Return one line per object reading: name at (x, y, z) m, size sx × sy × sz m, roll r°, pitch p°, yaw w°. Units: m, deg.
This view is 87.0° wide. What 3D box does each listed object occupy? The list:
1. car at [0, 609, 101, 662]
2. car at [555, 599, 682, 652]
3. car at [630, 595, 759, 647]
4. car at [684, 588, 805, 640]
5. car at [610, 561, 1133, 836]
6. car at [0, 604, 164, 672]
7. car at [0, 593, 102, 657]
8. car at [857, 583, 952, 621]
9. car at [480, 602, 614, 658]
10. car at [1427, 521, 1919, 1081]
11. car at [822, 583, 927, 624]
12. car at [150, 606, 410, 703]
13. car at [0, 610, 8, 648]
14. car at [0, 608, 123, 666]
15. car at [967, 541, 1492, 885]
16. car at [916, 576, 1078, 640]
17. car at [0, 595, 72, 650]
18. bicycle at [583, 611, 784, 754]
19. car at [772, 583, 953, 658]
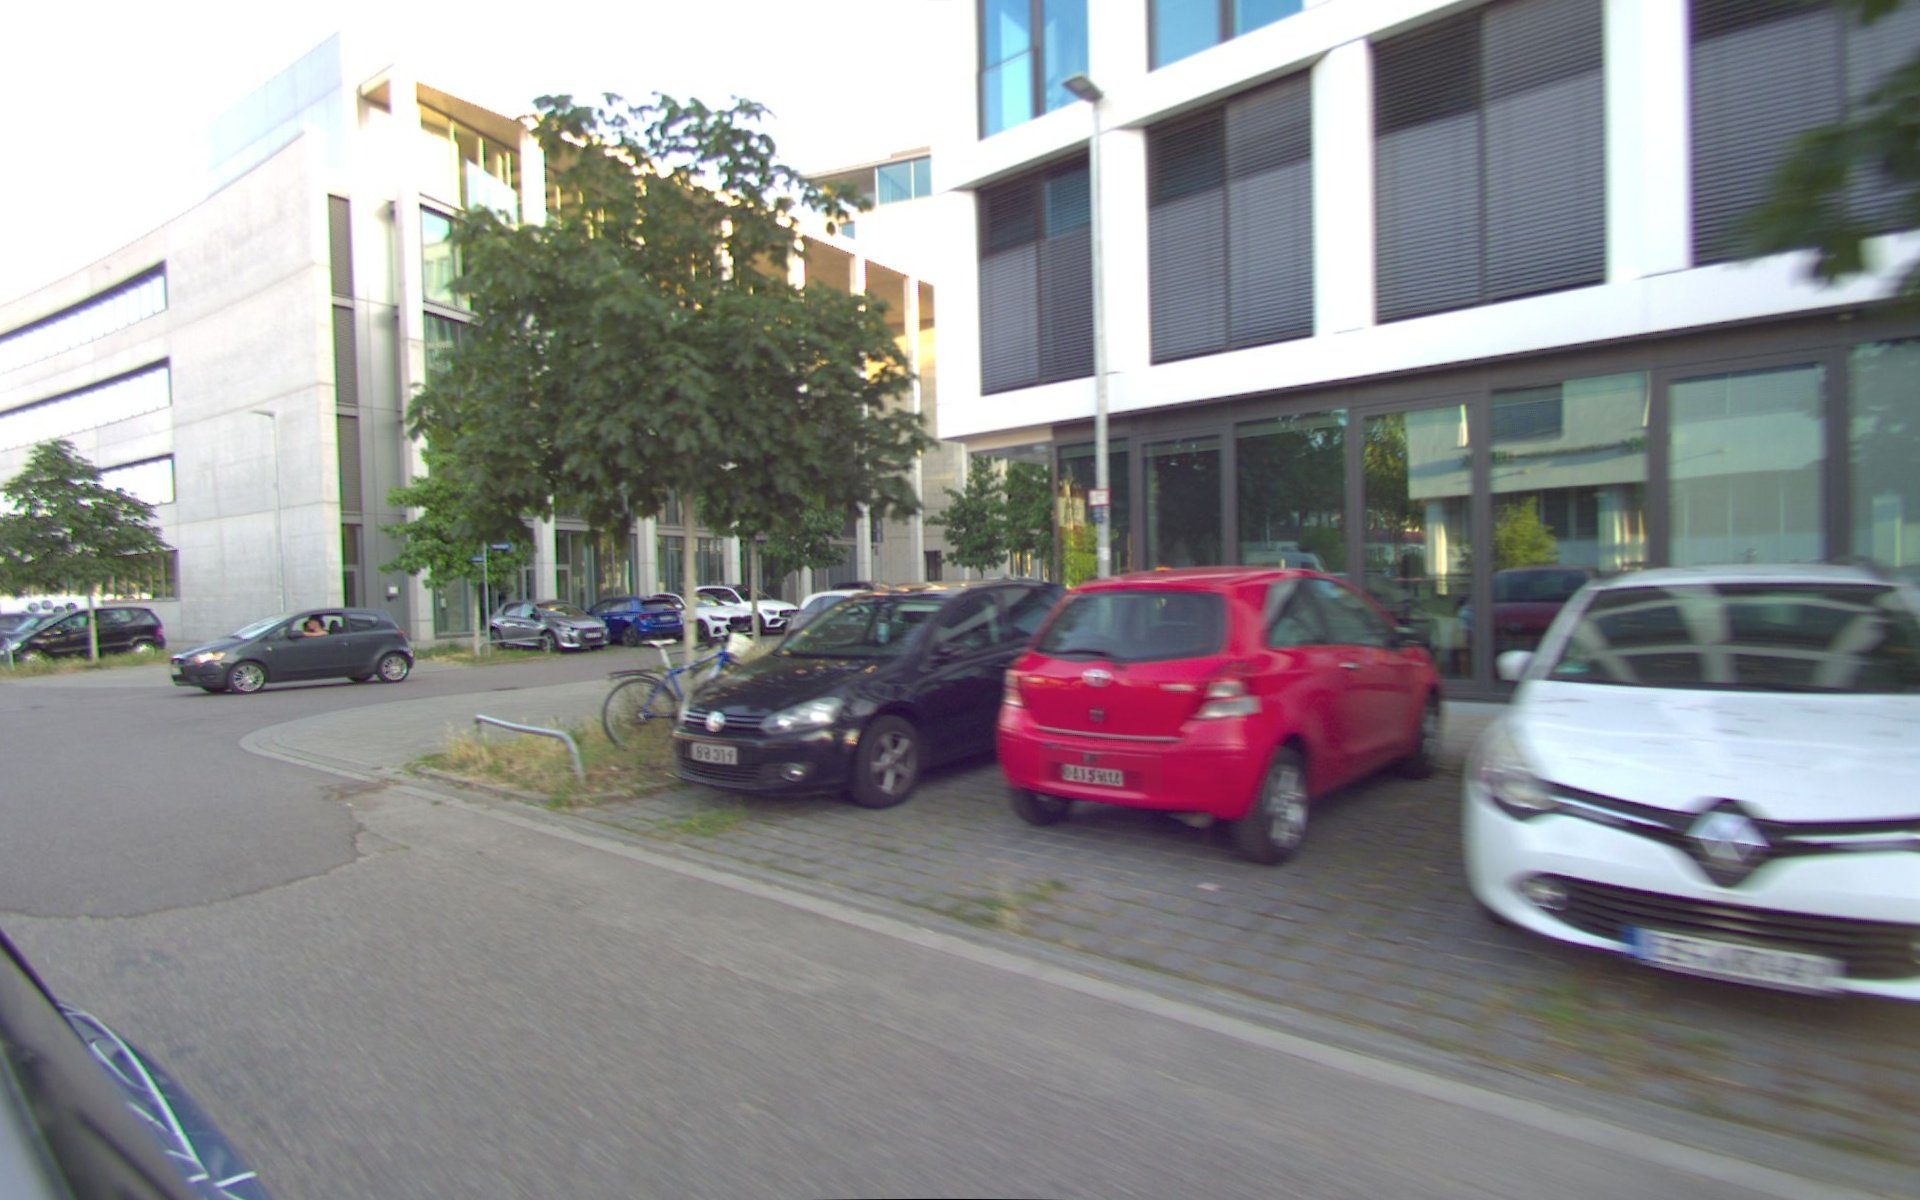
car at (-28.866, 1.107, 30.963) m, size 1.723 × 1.435 × 3.613 m, roll -1°, pitch 3°, yaw 37°
car at (-10.353, 0.725, 30.638) m, size 3.892 × 1.439 × 1.545 m, roll 1°, pitch 2°, yaw 33°
car at (-8.482, 0.617, 32.268) m, size 4.124 × 1.503 × 1.631 m, roll 1°, pitch 2°, yaw 33°
car at (-7.391, 0.432, 34.616) m, size 4.124 × 1.640 × 1.631 m, roll 0°, pitch 2°, yaw 33°
car at (-0.433, 0.533, 8.049) m, size 1.842 × 1.530 × 4.070 m, roll -2°, pitch 2°, yaw 37°
car at (-24.509, 1.005, 27.949) m, size 1.723 × 1.559 × 3.611 m, roll -1°, pitch 3°, yaw 38°
car at (-31.079, 0.871, 32.479) m, size 1.883 × 1.894 × 5.030 m, roll -1°, pitch 2°, yaw 33°
car at (-2.383, 0.058, 43.291) m, size 3.846 × 1.516 × 1.631 m, roll 0°, pitch 2°, yaw 33°
car at (-11.680, 0.796, 28.566) m, size 3.807 × 1.396 × 1.631 m, roll 1°, pitch 2°, yaw 33°
car at (3.601, 0.464, 4.555) m, size 1.778 × 1.530 × 4.069 m, roll -2°, pitch 2°, yaw 39°
car at (-3.476, 0.110, 40.862) m, size 4.124 × 1.585 × 1.631 m, roll 1°, pitch 2°, yaw 33°
car at (-12.605, 0.934, 18.965) m, size 1.645 × 1.506 × 3.693 m, roll -1°, pitch 1°, yaw 35°
car at (-36.985, 1.195, 36.317) m, size 1.794 × 1.370 × 3.772 m, roll -1°, pitch 2°, yaw 33°
car at (-26.804, 1.067, 29.311) m, size 1.723 × 1.435 × 3.611 m, roll -1°, pitch 3°, yaw 38°
car at (2.047, 0.435, 6.689) m, size 1.843 × 1.530 × 4.069 m, roll -2°, pitch 2°, yaw 39°
car at (1.009, 0.243, 28.951) m, size 4.361 × 1.664 × 1.711 m, roll -2°, pitch 1°, yaw 34°
car at (-34.900, 0.897, 35.675) m, size 1.883 × 1.840 × 5.030 m, roll -1°, pitch 2°, yaw 33°
bicycle at (-2.423, 0.681, 9.049) m, size 0.566 × 1.073 × 1.679 m, roll -1°, pitch 2°, yaw 40°
car at (-2.192, 0.457, 22.377) m, size 3.714 × 1.507 × 1.711 m, roll -2°, pitch 1°, yaw 34°
